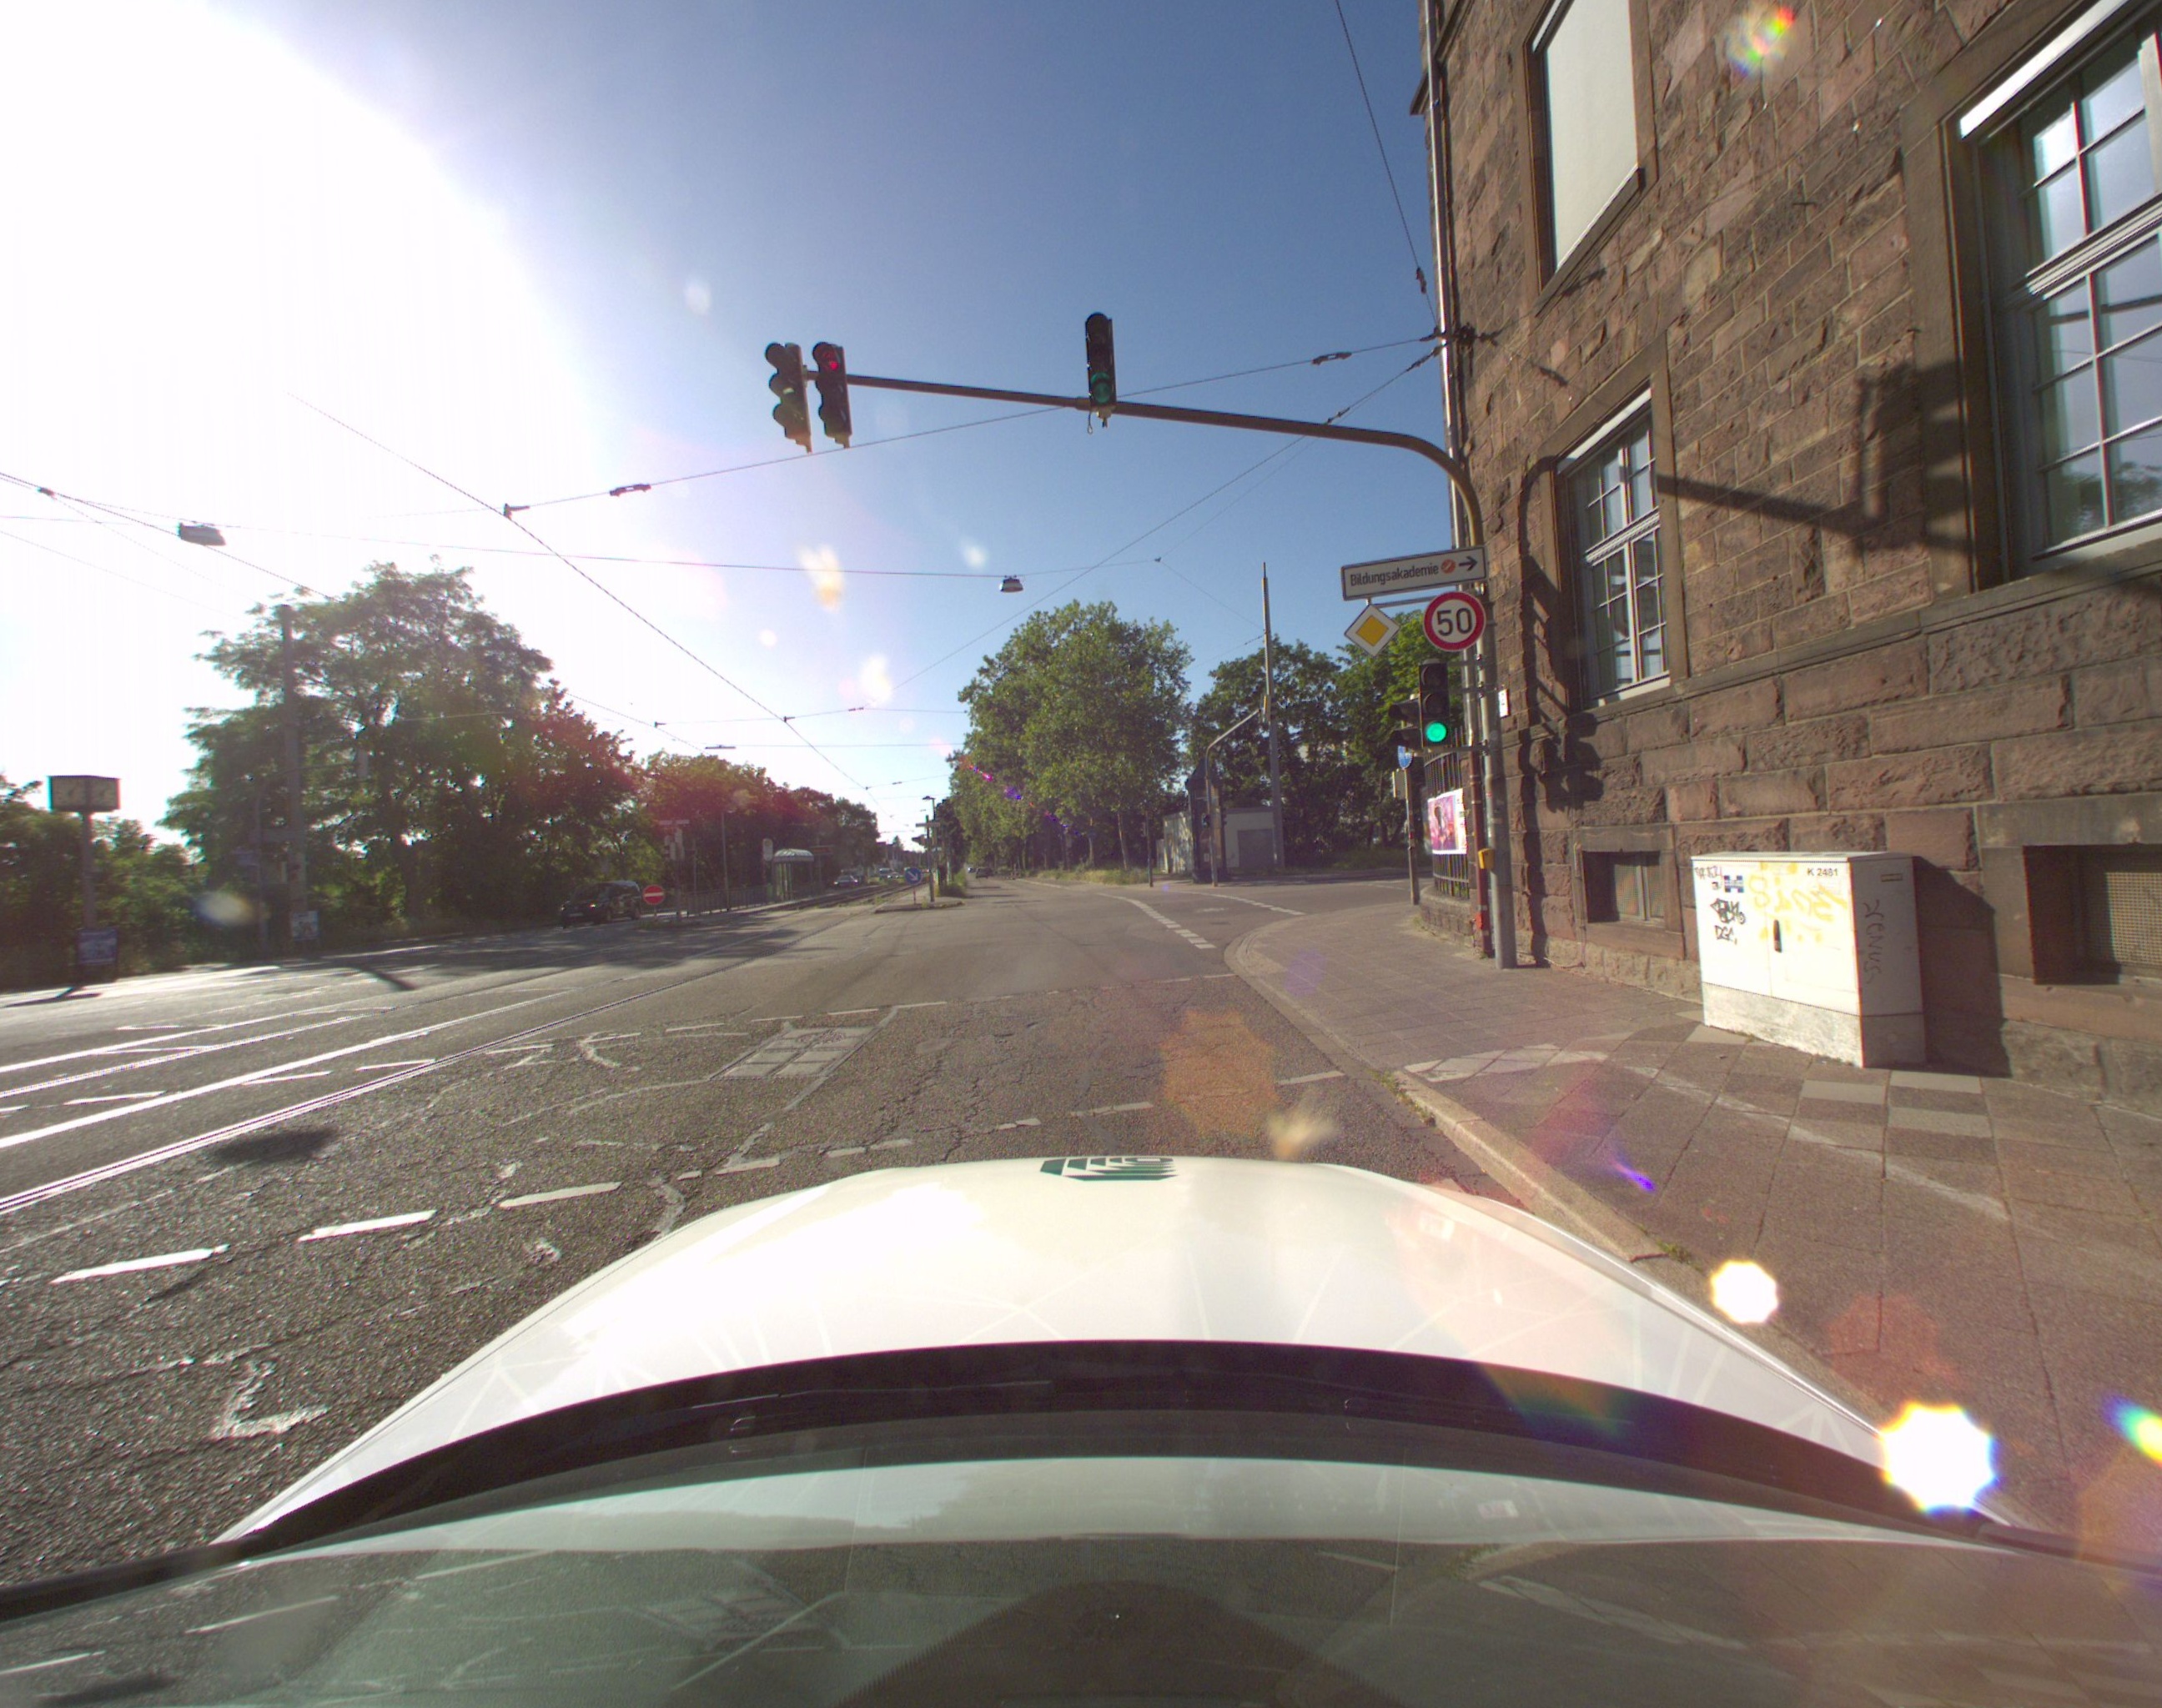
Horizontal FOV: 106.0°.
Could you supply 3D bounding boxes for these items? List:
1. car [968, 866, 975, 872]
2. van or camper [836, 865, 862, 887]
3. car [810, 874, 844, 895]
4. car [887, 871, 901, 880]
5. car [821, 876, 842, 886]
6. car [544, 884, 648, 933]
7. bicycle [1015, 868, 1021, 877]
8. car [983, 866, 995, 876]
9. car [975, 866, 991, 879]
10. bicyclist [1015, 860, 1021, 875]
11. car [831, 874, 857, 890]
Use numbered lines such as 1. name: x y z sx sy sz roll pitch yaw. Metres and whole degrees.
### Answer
1. car: -30.428 4.132 226.644 1.750 1.604 3.569 -4 0 -9
2. van or camper: -35.132 3.320 123.466 2.588 3.106 6.768 -4 0 -8
3. car: -19.386 2.309 62.223 1.804 1.466 3.987 -3 -1 -9
4. car: -33.920 3.974 147.872 1.993 1.469 4.361 -3 -1 -9
5. car: -33.862 3.646 110.494 1.919 1.266 3.991 -4 0 -7
6. car: -20.505 2.226 34.729 1.993 1.767 5.015 -4 -1 -9
7. bicycle: -7.548 2.235 97.054 0.536 1.066 1.428 -4 -1 -10
8. car: -15.006 2.752 133.156 1.749 1.604 3.739 -3 0 -8
9. car: -12.925 2.435 107.196 1.866 1.486 3.545 -3 -1 -8
10. bicyclist: -7.553 1.611 97.082 0.534 1.769 0.710 -4 -1 -10
11. car: -25.241 2.979 86.846 1.919 1.567 3.991 -4 0 -7
